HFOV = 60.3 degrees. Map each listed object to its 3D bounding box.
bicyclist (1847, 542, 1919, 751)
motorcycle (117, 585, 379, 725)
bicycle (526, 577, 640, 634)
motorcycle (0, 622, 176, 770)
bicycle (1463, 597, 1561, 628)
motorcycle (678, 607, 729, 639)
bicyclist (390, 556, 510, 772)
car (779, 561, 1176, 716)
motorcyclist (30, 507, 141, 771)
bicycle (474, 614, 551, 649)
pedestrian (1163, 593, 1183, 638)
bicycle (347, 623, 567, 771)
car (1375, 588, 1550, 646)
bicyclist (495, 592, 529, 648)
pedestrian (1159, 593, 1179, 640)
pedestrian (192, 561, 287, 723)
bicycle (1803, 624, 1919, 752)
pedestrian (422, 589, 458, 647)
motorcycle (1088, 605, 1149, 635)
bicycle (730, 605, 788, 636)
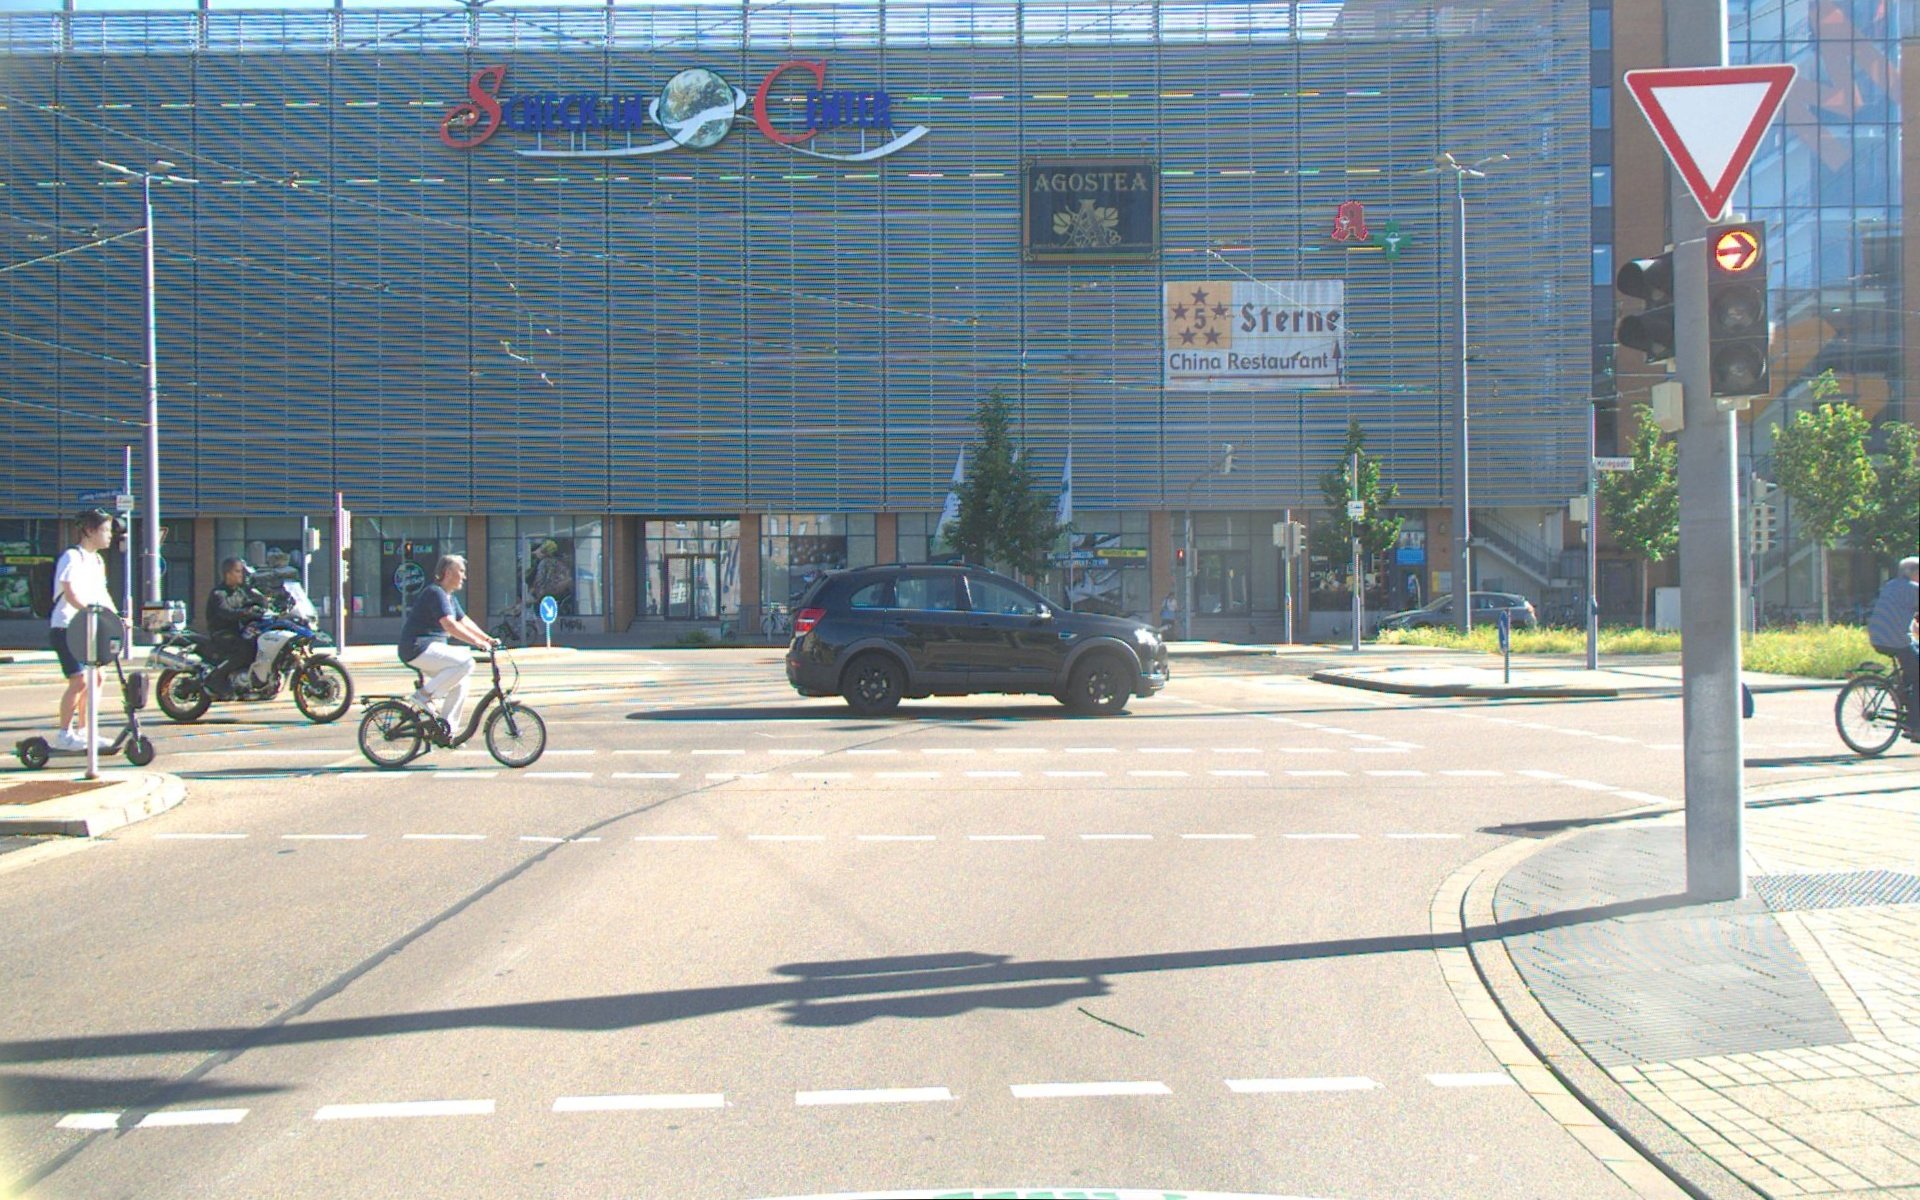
[{"bbox_3d":[8.966,0.417,15.449,0.883,1.892,0.854,0,0,-1],"label":"bicyclist"},{"bbox_3d":[-7.626,0.582,17.814,2.394,1.443,0.914,1,0,-3],"label":"motorcycle"},{"bbox_3d":[-13.918,0.199,61.197,3.905,2.049,1.330,0,0,-1],"label":"bicycle"},{"bbox_3d":[-6.921,0.750,13.128,1.162,1.141,0.483,0,0,-1],"label":"motorcycle"},{"bbox_3d":[20.480,0.457,61.446,3.289,1.096,1.117,1,0,5],"label":"bicycle"},{"bbox_3d":[-8.640,0.774,55.723,1.616,1.078,0.497,0,0,9],"label":"motorcycle"},{"bbox_3d":[-4.082,0.497,13.279,0.767,1.677,0.690,0,0,-3],"label":"bicyclist"},{"bbox_3d":[0.140,0.413,19.708,4.546,1.748,1.837,0,1,-6],"label":"car"},{"bbox_3d":[-6.931,0.303,13.125,0.615,2.049,0.497,0,0,-1],"label":"motorcyclist"},{"bbox_3d":[-14.769,1.020,54.626,2.225,1.089,1.030,0,0,-42],"label":"bicycle"},{"bbox_3d":[7.137,0.519,55.350,0.577,1.488,0.658,0,0,-1],"label":"pedestrian"},{"bbox_3d":[-4.002,0.757,13.259,1.545,1.126,0.734,0,0,-3],"label":"bicycle"},{"bbox_3d":[13.877,0.464,45.789,4.395,1.521,1.494,-1,0,-1],"label":"car"},{"bbox_3d":[-14.775,0.656,54.551,0.838,1.834,0.803,0,0,-42],"label":"bicyclist"},{"bbox_3d":[6.901,0.541,54.637,0.577,1.561,0.658,0,0,-1],"label":"pedestrian"},{"bbox_3d":[-7.739,0.446,17.794,0.729,1.706,0.664,0,0,-1],"label":"pedestrian"},{"bbox_3d":[8.986,0.801,15.455,1.791,1.135,0.853,0,0,-1],"label":"bicycle"},{"bbox_3d":[-17.217,0.591,54.755,0.890,1.901,0.816,-1,0,42],"label":"pedestrian"},{"bbox_3d":[5.818,0.744,60.857,2.157,1.061,1.061,0,0,-1],"label":"motorcycle"},{"bbox_3d":[-7.322,0.741,60.371,1.985,1.078,1.144,0,0,-1],"label":"bicycle"}]
